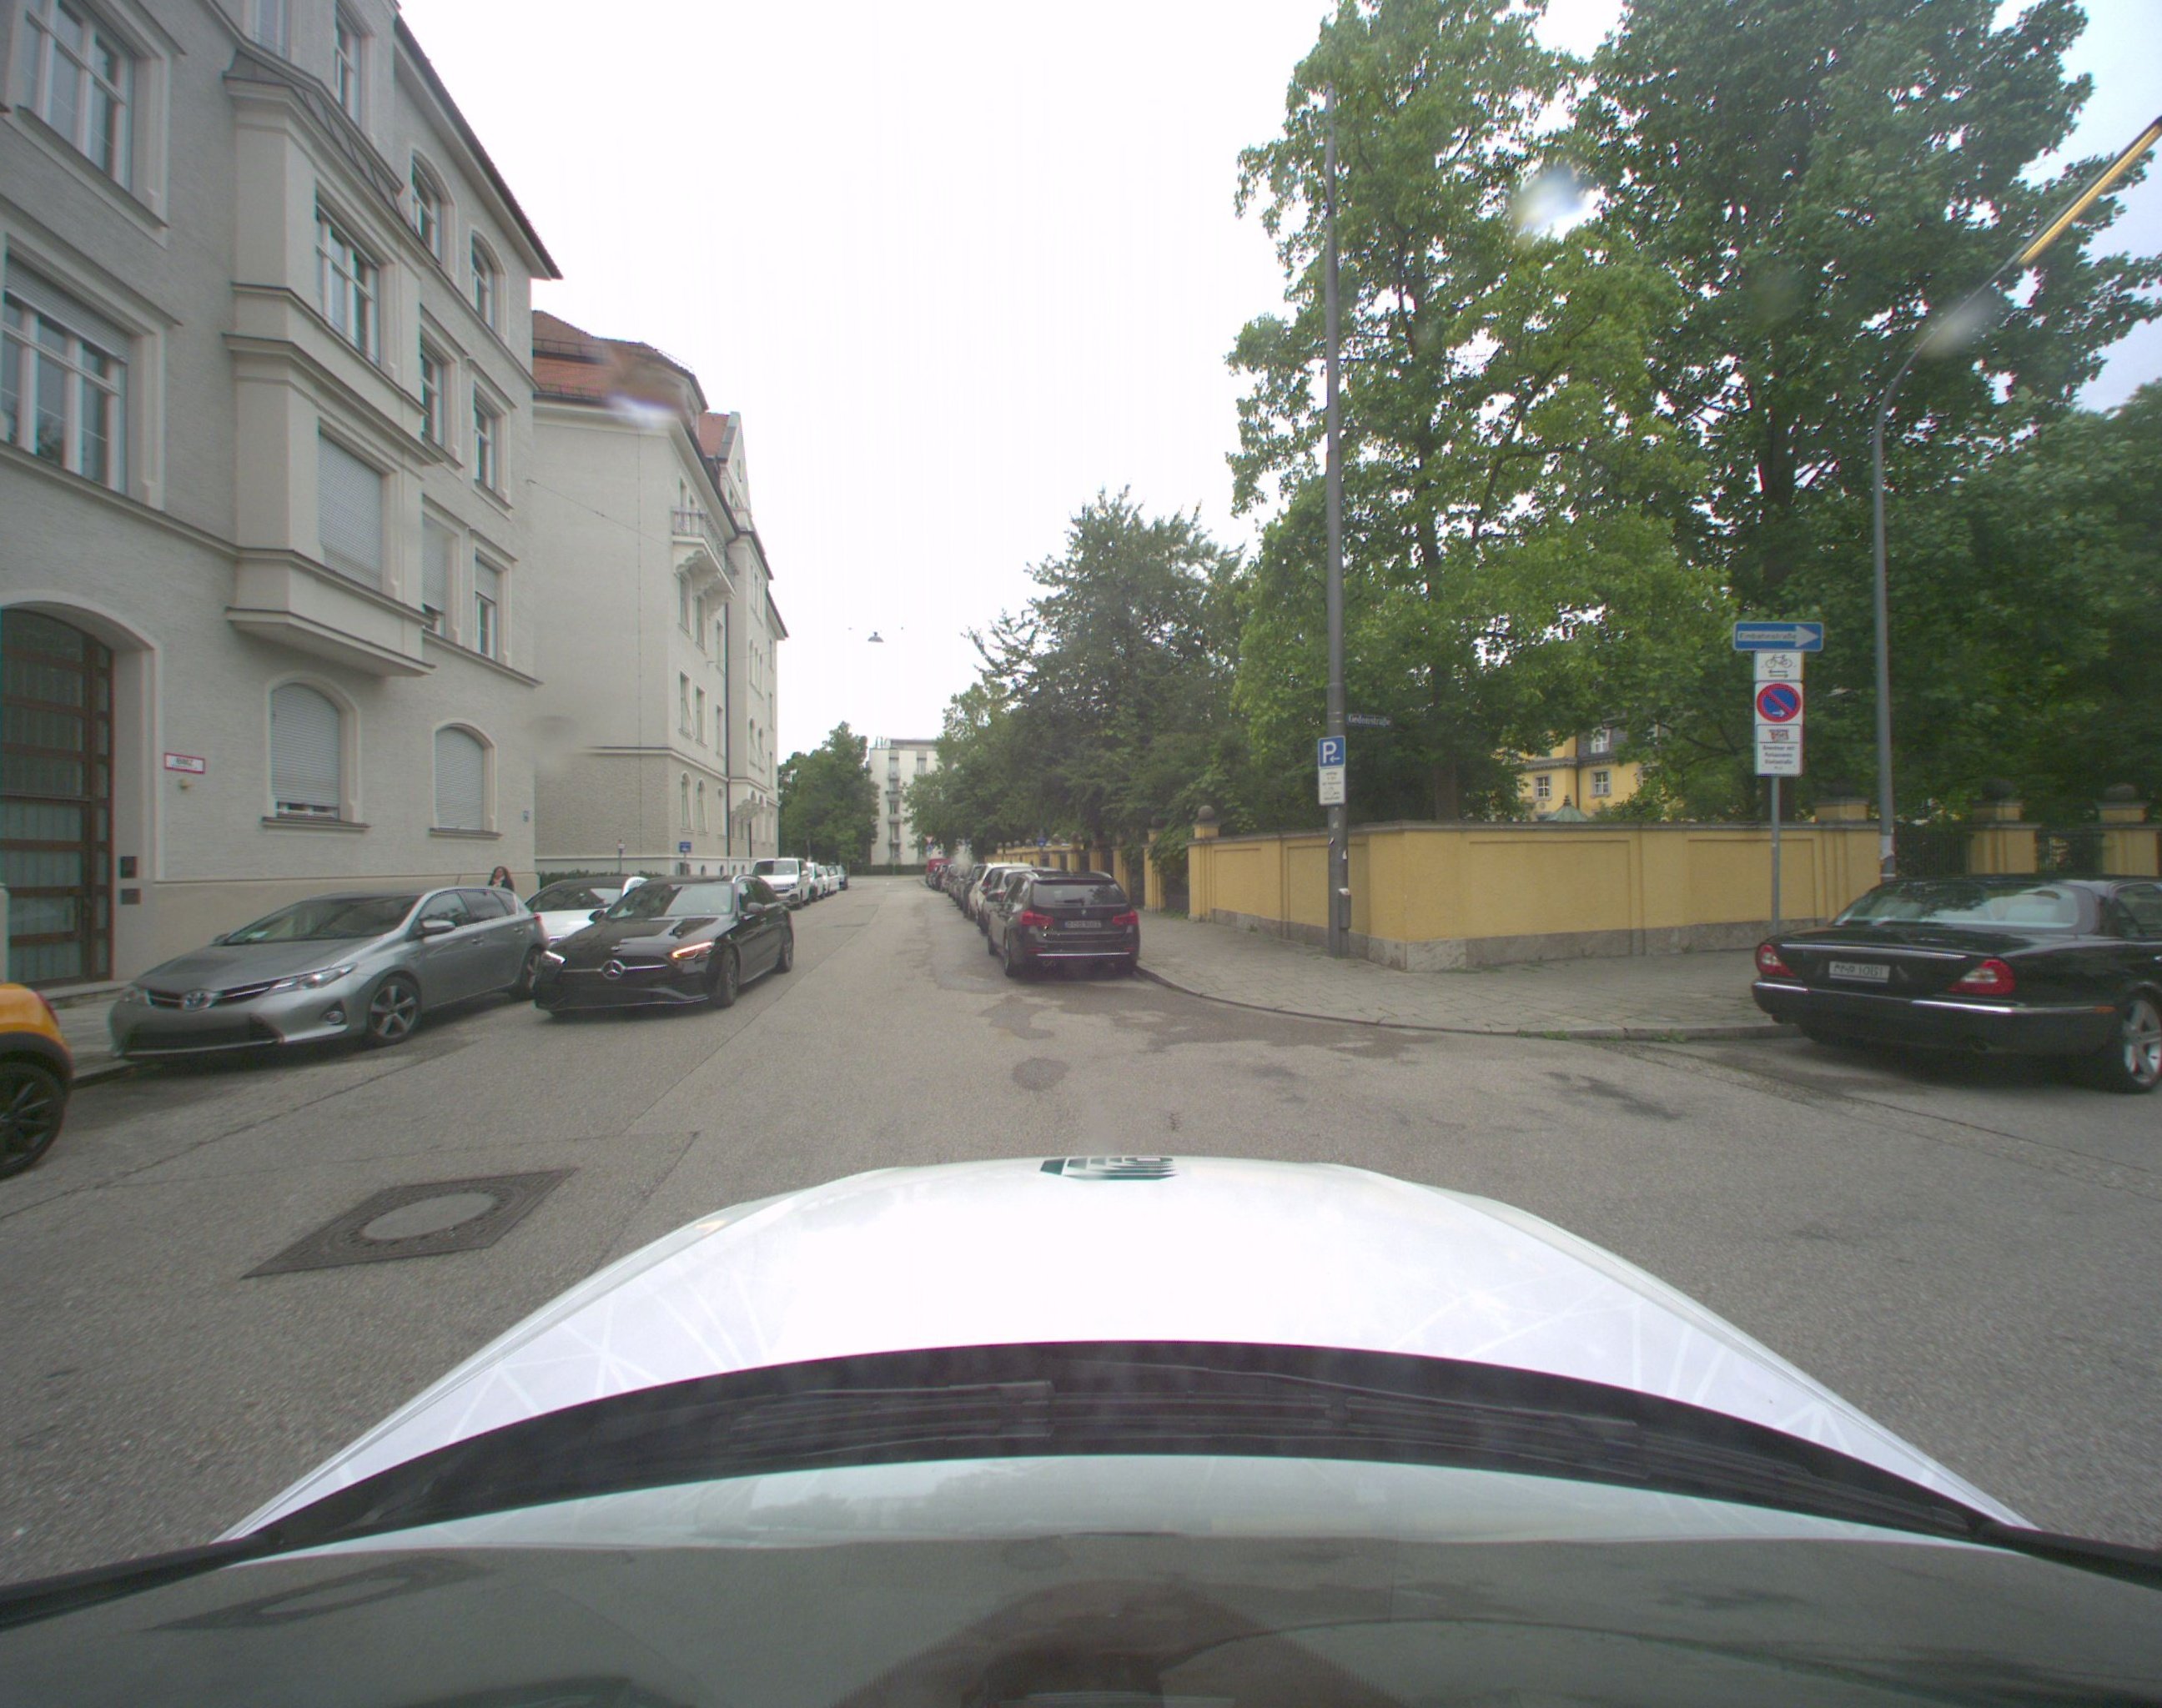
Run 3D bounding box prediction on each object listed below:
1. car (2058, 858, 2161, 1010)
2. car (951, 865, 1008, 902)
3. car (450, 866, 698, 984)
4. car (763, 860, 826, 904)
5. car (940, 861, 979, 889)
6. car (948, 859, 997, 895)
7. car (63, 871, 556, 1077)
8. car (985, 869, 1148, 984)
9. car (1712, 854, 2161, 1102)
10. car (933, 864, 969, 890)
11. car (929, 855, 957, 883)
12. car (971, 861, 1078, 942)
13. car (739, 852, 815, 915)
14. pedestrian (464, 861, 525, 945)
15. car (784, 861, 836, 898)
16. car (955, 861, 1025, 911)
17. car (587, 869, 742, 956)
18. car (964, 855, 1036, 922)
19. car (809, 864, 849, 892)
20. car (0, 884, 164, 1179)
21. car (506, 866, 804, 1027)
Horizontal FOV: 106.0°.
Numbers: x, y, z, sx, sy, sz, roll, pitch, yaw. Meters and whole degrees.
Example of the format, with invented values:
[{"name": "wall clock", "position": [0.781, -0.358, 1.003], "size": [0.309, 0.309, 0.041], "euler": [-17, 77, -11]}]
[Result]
[{"name": "car", "position": [12.888, 0.762, 8.363], "size": [4.601, 1.482, 1.912], "euler": [-1, -1, -16]}, {"name": "car", "position": [-4.123, 1.147, 32.484], "size": [1.841, 1.346, 3.929], "euler": [1, -1, -13]}, {"name": "car", "position": [-7.880, 0.984, 13.215], "size": [1.836, 1.438, 4.261], "euler": [-3, 0, -9]}, {"name": "car", "position": [-13.012, 1.229, 37.224], "size": [2.017, 1.771, 4.395], "euler": [-3, 0, -12]}, {"name": "car", "position": [-6.905, 1.190, 45.921], "size": [1.841, 1.519, 3.929], "euler": [1, -1, -13]}, {"name": "car", "position": [-5.035, 1.044, 37.305], "size": [1.841, 1.519, 3.929], "euler": [1, -1, -13]}, {"name": "car", "position": [-7.298, 0.966, 8.363], "size": [1.726, 1.500, 3.917], "euler": [-2, -1, -9]}, {"name": "car", "position": [-0.410, 0.944, 12.372], "size": [1.838, 1.413, 4.327], "euler": [1, -1, -10]}, {"name": "car", "position": [7.824, 0.756, 6.579], "size": [4.925, 1.482, 1.854], "euler": [0, -1, -18]}, {"name": "car", "position": [-8.009, 1.392, 49.947], "size": [1.841, 1.519, 3.929], "euler": [1, -1, -13]}, {"name": "car", "position": [-10.406, 1.110, 61.583], "size": [1.835, 1.927, 3.994], "euler": [2, -1, -8]}, {"name": "car", "position": [-1.306, 0.942, 17.310], "size": [1.654, 1.519, 3.777], "euler": [1, -1, -13]}, {"name": "car", "position": [-11.522, 1.057, 31.188], "size": [1.888, 2.127, 4.687], "euler": [-3, 0, -12]}, {"name": "pedestrian", "position": [-11.951, 0.977, 16.623], "size": [0.793, 1.679, 0.697], "euler": [0, -1, -13]}, {"name": "car", "position": [-14.182, 1.306, 42.888], "size": [2.017, 1.726, 4.257], "euler": [-3, 0, -12]}, {"name": "car", "position": [-3.088, 1.029, 27.034], "size": [1.841, 1.551, 3.929], "euler": [1, -1, -13]}, {"name": "car", "position": [-8.940, 1.174, 17.898], "size": [1.837, 1.499, 4.258], "euler": [-3, 0, -11]}, {"name": "car", "position": [-2.247, 0.890, 21.931], "size": [1.515, 1.661, 3.658], "euler": [1, -1, -12]}, {"name": "car", "position": [-16.733, 1.580, 54.291], "size": [2.017, 1.634, 4.395], "euler": [-3, 0, -12]}, {"name": "car", "position": [-6.270, 0.975, 2.976], "size": [1.640, 1.499, 3.959], "euler": [-3, 0, -9]}, {"name": "car", "position": [-4.891, 0.921, 10.159], "size": [1.873, 1.428, 4.397], "euler": [-2, 0, -8]}]
